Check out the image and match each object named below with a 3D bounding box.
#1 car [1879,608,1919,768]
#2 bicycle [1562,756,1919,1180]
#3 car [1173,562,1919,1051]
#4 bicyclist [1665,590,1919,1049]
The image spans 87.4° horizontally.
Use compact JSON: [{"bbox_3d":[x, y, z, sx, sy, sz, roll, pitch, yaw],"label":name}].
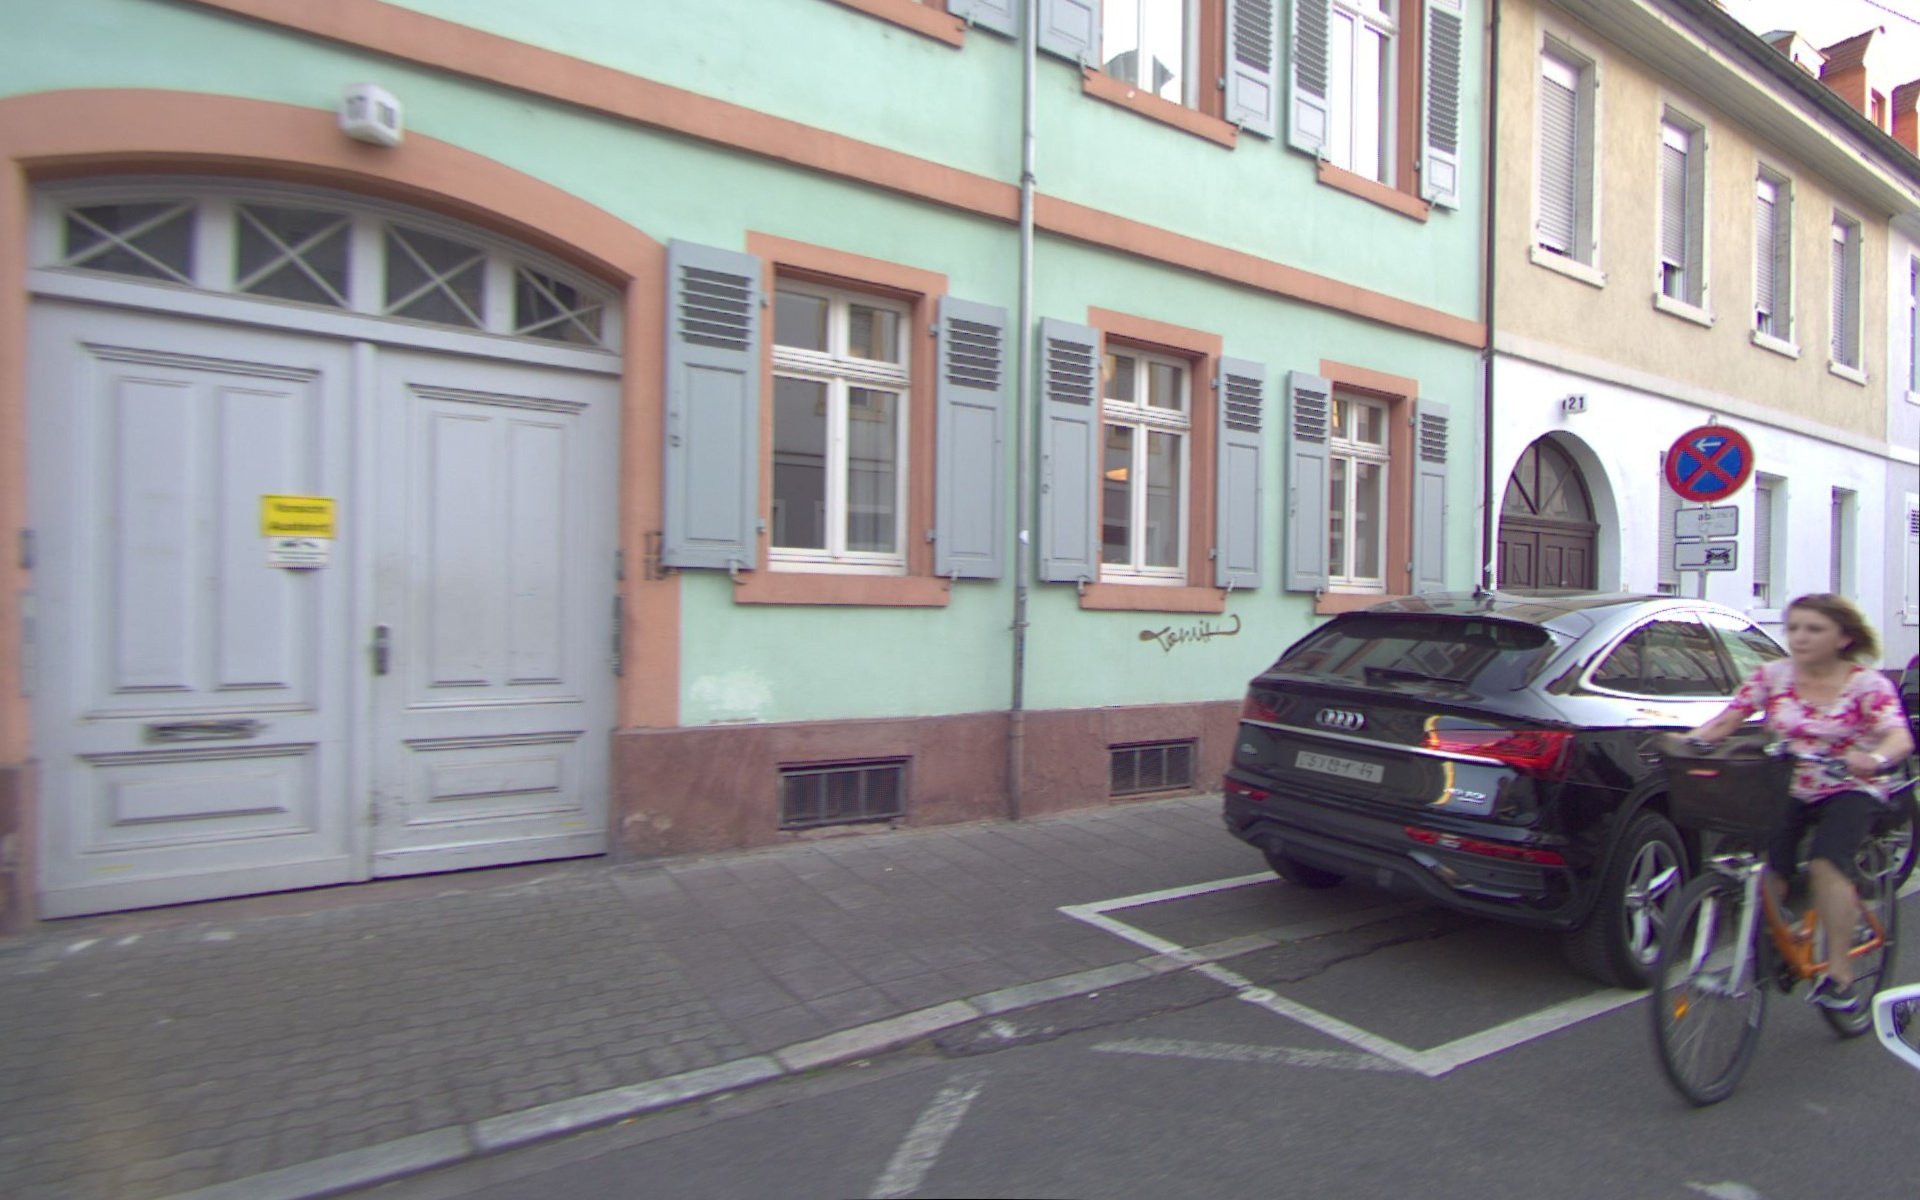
[{"bbox_3d":[12.723,1.024,11.653,4.487,1.730,1.986,1,1,-34],"label":"car"},{"bbox_3d":[2.894,1.103,3.441,1.865,0.945,0.610,1,0,-31],"label":"bicycle"},{"bbox_3d":[3.431,0.767,5.416,4.438,1.699,1.794,1,-1,-31],"label":"car"},{"bbox_3d":[2.928,0.669,3.457,0.614,1.388,0.603,1,0,-29],"label":"bicyclist"}]
